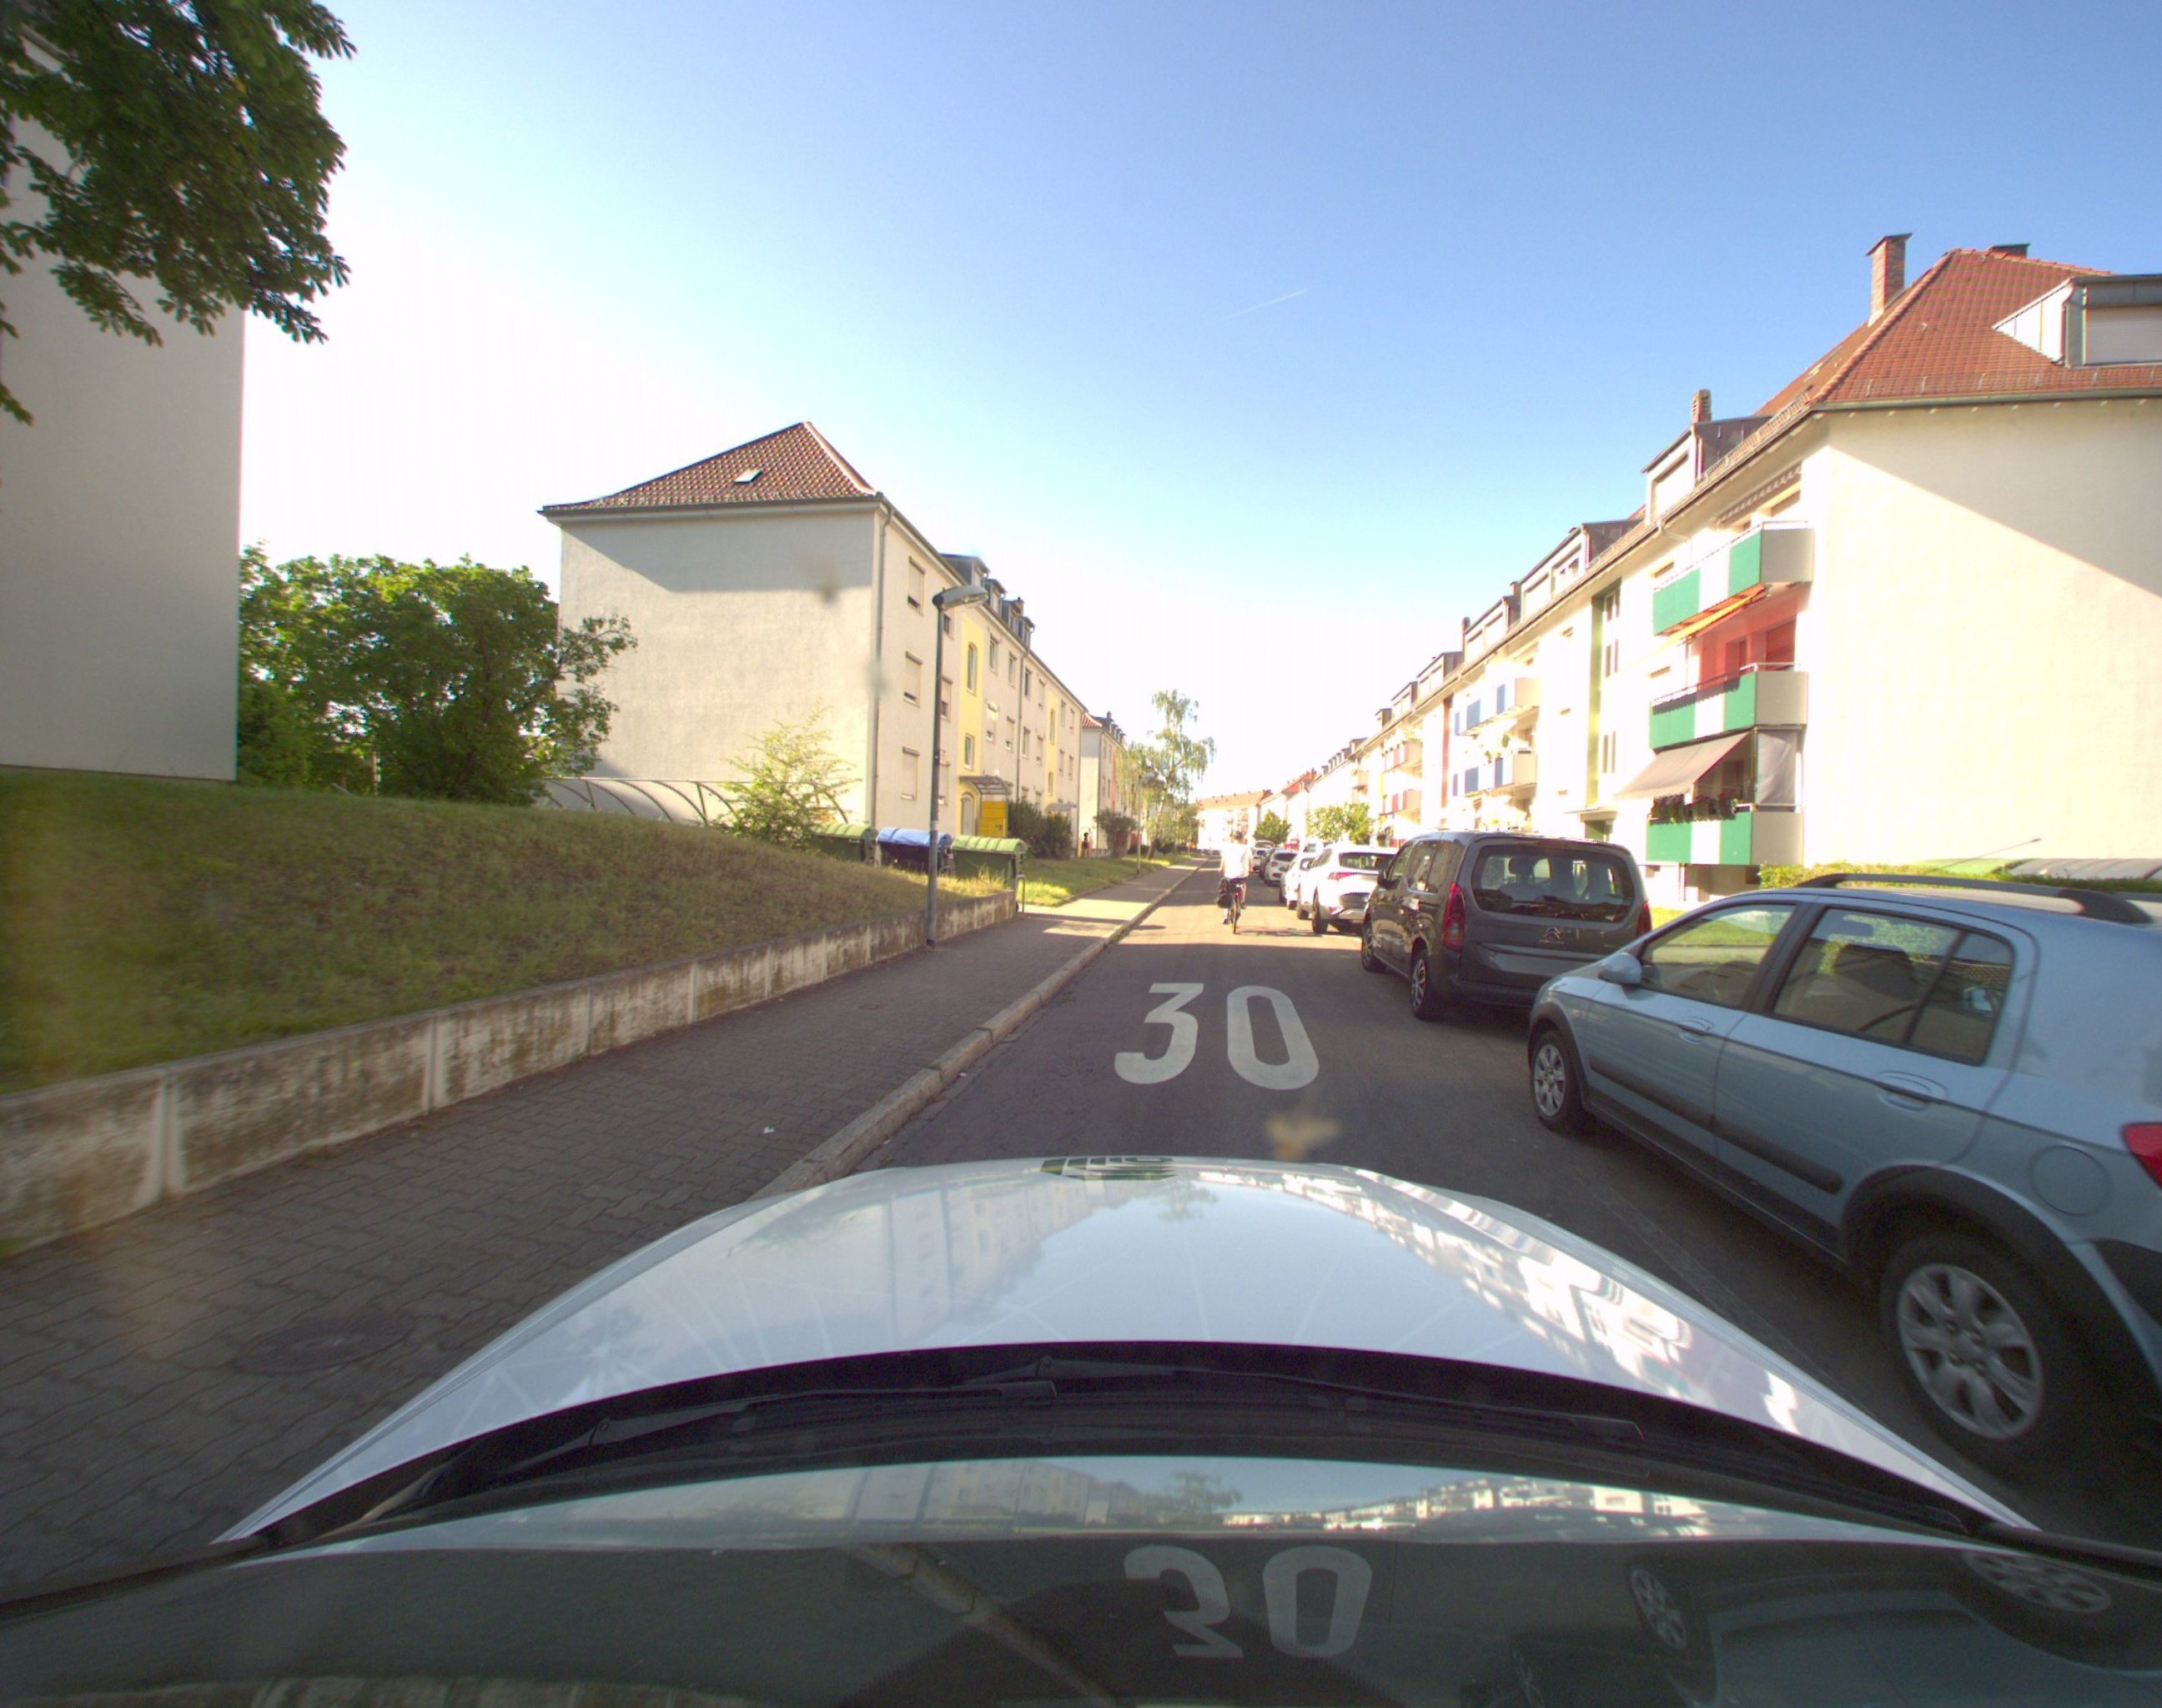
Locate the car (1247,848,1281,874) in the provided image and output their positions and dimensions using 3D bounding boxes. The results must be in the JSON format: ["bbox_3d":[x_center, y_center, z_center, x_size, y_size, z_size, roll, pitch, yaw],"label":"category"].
[{"bbox_3d":[11.425,0.402,51.069,1.882,1.496,4.103,2,0,10],"label":"car"}]

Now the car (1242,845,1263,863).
[{"bbox_3d":[16.112,-0.007,76.647,1.795,1.604,4.416,2,0,10],"label":"car"}]

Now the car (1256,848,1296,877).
[{"bbox_3d":[10.432,0.450,43.728,1.824,1.435,3.762,2,0,10],"label":"car"}]

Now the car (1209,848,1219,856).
[{"bbox_3d":[28.682,-0.466,175.957,1.983,1.575,4.008,1,1,7],"label":"car"}]

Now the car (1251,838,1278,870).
[{"bbox_3d":[12.760,0.003,56.778,1.609,2.143,4.011,2,0,10],"label":"car"}]

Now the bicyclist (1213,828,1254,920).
[{"bbox_3d":[2.762,0.349,14.811,0.690,1.596,0.793,1,0,9],"label":"bicyclist"}]

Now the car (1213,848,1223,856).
[{"bbox_3d":[28.709,-0.363,170.580,1.748,1.575,3.910,1,1,6],"label":"car"}]

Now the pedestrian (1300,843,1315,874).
[{"bbox_3d":[14.745,0.268,53.057,0.786,2.013,1.085,1,0,10],"label":"pedestrian"}]

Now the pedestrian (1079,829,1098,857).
[{"bbox_3d":[0.428,-0.593,45.110,0.858,1.521,1.071,2,0,10],"label":"pedestrian"}]

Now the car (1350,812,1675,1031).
[{"bbox_3d":[4.240,0.529,8.854,1.852,1.730,4.307,2,0,10],"label":"car"}]

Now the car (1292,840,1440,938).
[{"bbox_3d":[5.329,0.579,15.805,1.971,1.592,4.135,2,0,9],"label":"car"}]

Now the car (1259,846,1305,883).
[{"bbox_3d":[9.342,0.447,38.097,1.824,1.557,4.011,2,0,10],"label":"car"}]

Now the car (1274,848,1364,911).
[{"bbox_3d":[6.120,0.598,21.283,1.747,1.432,3.638,2,1,9],"label":"car"}]

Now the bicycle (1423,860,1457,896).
[{"bbox_3d":[11.876,0.776,26.964,0.555,1.093,1.906,2,0,10],"label":"bicycle"}]

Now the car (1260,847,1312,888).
[{"bbox_3d":[8.310,0.497,33.244,1.622,1.490,3.632,3,1,9],"label":"car"}]

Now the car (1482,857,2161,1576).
[{"bbox_3d":[3.276,0.769,3.427,1.644,1.429,3.908,2,0,7],"label":"car"}]

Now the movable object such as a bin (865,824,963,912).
[{"bbox_3d":[-3.276,0.258,16.156,1.490,1.622,1.267,2,0,9],"label":"movable object such as a bin"}]

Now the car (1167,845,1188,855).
[{"bbox_3d":[18.525,-0.724,155.819,3.964,1.801,2.005,1,0,8],"label":"car"}]

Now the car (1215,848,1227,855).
[{"bbox_3d":[34.808,-0.597,202.333,1.988,1.575,3.997,1,1,-2],"label":"car"}]

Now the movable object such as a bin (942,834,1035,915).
[{"bbox_3d":[-1.794,0.385,16.010,1.483,1.478,1.268,2,0,9],"label":"movable object such as a bin"}]

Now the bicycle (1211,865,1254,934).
[{"bbox_3d":[2.742,0.792,14.864,0.657,1.127,1.770,3,0,8],"label":"bicycle"}]

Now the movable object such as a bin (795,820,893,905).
[{"bbox_3d":[-4.733,0.157,16.355,1.450,1.613,1.194,2,0,9],"label":"movable object such as a bin"}]
